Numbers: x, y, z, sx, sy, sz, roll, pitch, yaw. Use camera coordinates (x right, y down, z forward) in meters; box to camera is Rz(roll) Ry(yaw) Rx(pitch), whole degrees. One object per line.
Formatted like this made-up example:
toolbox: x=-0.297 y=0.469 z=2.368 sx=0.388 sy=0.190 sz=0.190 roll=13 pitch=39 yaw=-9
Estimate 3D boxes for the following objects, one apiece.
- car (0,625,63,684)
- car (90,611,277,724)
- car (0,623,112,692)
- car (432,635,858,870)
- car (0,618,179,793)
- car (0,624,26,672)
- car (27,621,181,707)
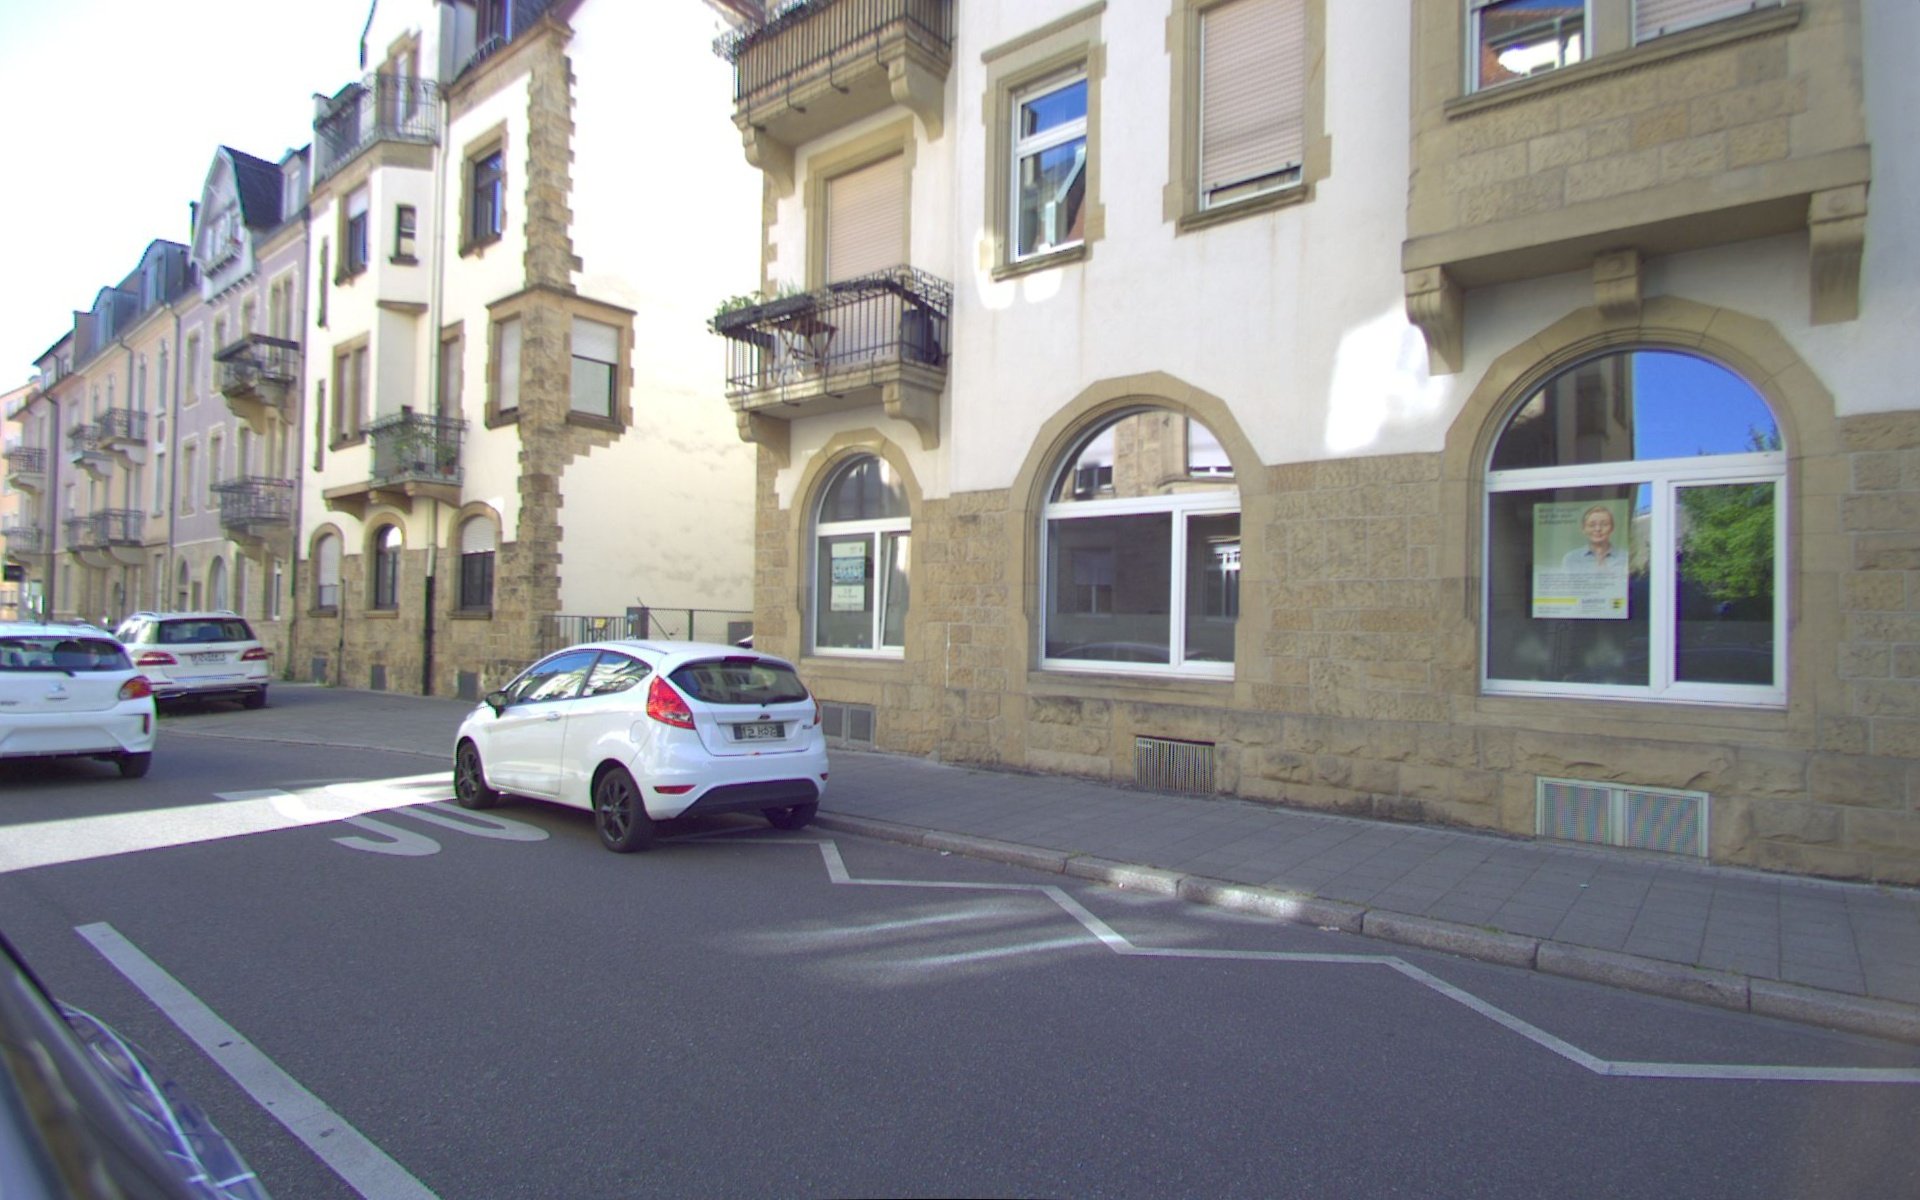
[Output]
car: x=-27.165 y=1.511 z=28.878 sx=4.317 sy=1.511 sz=1.833 roll=-1 pitch=0 yaw=41
car: x=-13.884 y=1.093 z=18.015 sx=4.209 sy=1.740 sz=1.866 roll=-1 pitch=0 yaw=41
car: x=-22.957 y=1.377 z=25.438 sx=4.319 sy=1.520 sz=1.866 roll=-1 pitch=0 yaw=41
car: x=-2.670 y=1.042 z=8.188 sx=3.642 sy=1.469 sz=1.634 roll=-2 pitch=-5 yaw=42
car: x=-9.439 y=0.963 z=10.092 sx=3.528 sy=1.495 sz=1.682 roll=-1 pitch=-4 yaw=37
car: x=-33.149 y=1.600 z=34.225 sx=4.319 sy=1.520 sz=1.866 roll=-1 pitch=0 yaw=41
car: x=-18.453 y=1.285 z=21.757 sx=4.319 sy=1.519 sz=1.866 roll=-1 pitch=2 yaw=41
